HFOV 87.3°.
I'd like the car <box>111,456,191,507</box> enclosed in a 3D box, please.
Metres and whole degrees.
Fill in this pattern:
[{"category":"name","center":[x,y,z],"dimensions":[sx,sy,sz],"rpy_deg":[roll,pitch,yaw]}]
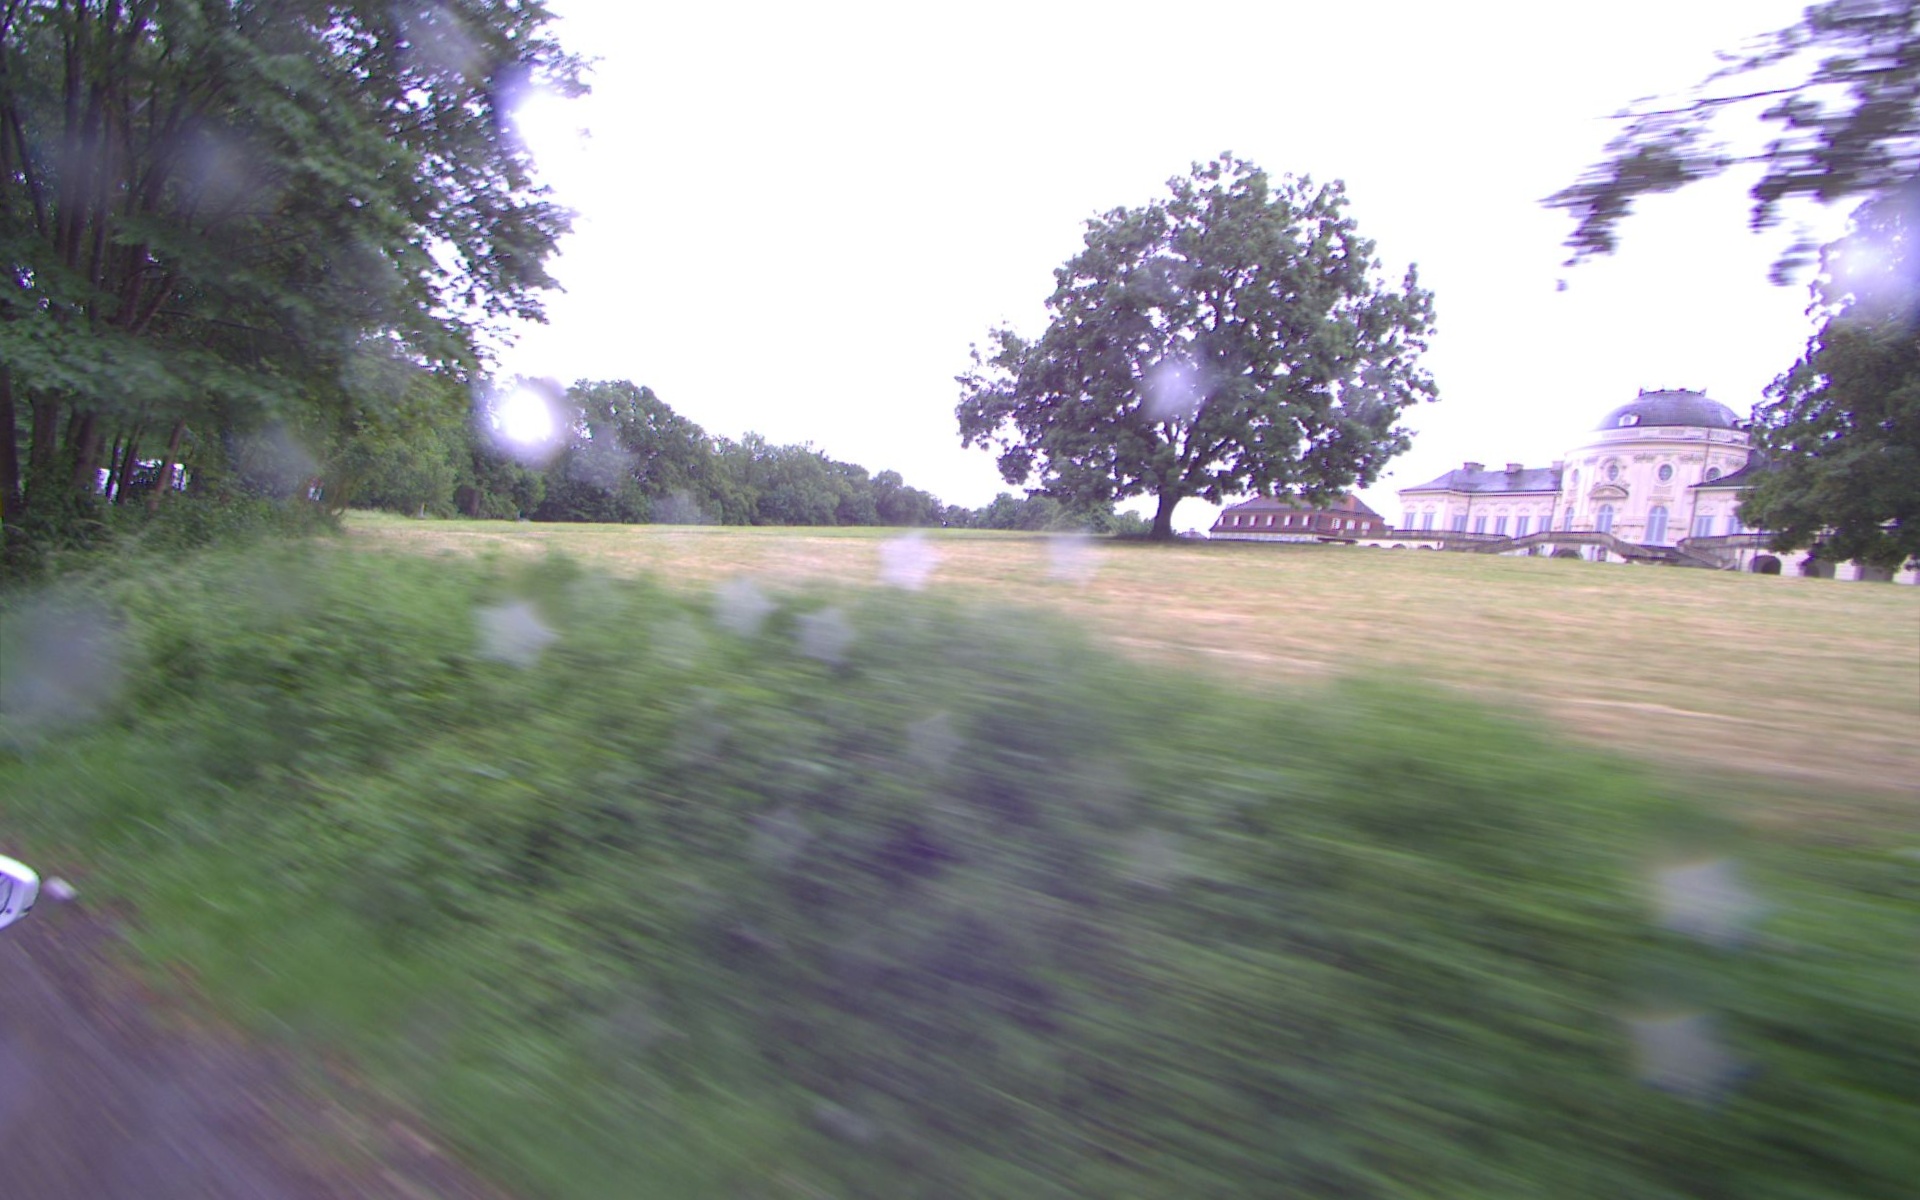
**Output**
[{"category":"car","center":[-49.626,-7.223,61.886],"dimensions":[2.249,2.735,6.008],"rpy_deg":[4,4,-24]}]

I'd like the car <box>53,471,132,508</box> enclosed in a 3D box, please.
[{"category":"car","center":[-45.587,-5.785,52.993],"dimensions":[1.842,1.617,4.465],"rpy_deg":[5,3,-24]}]
